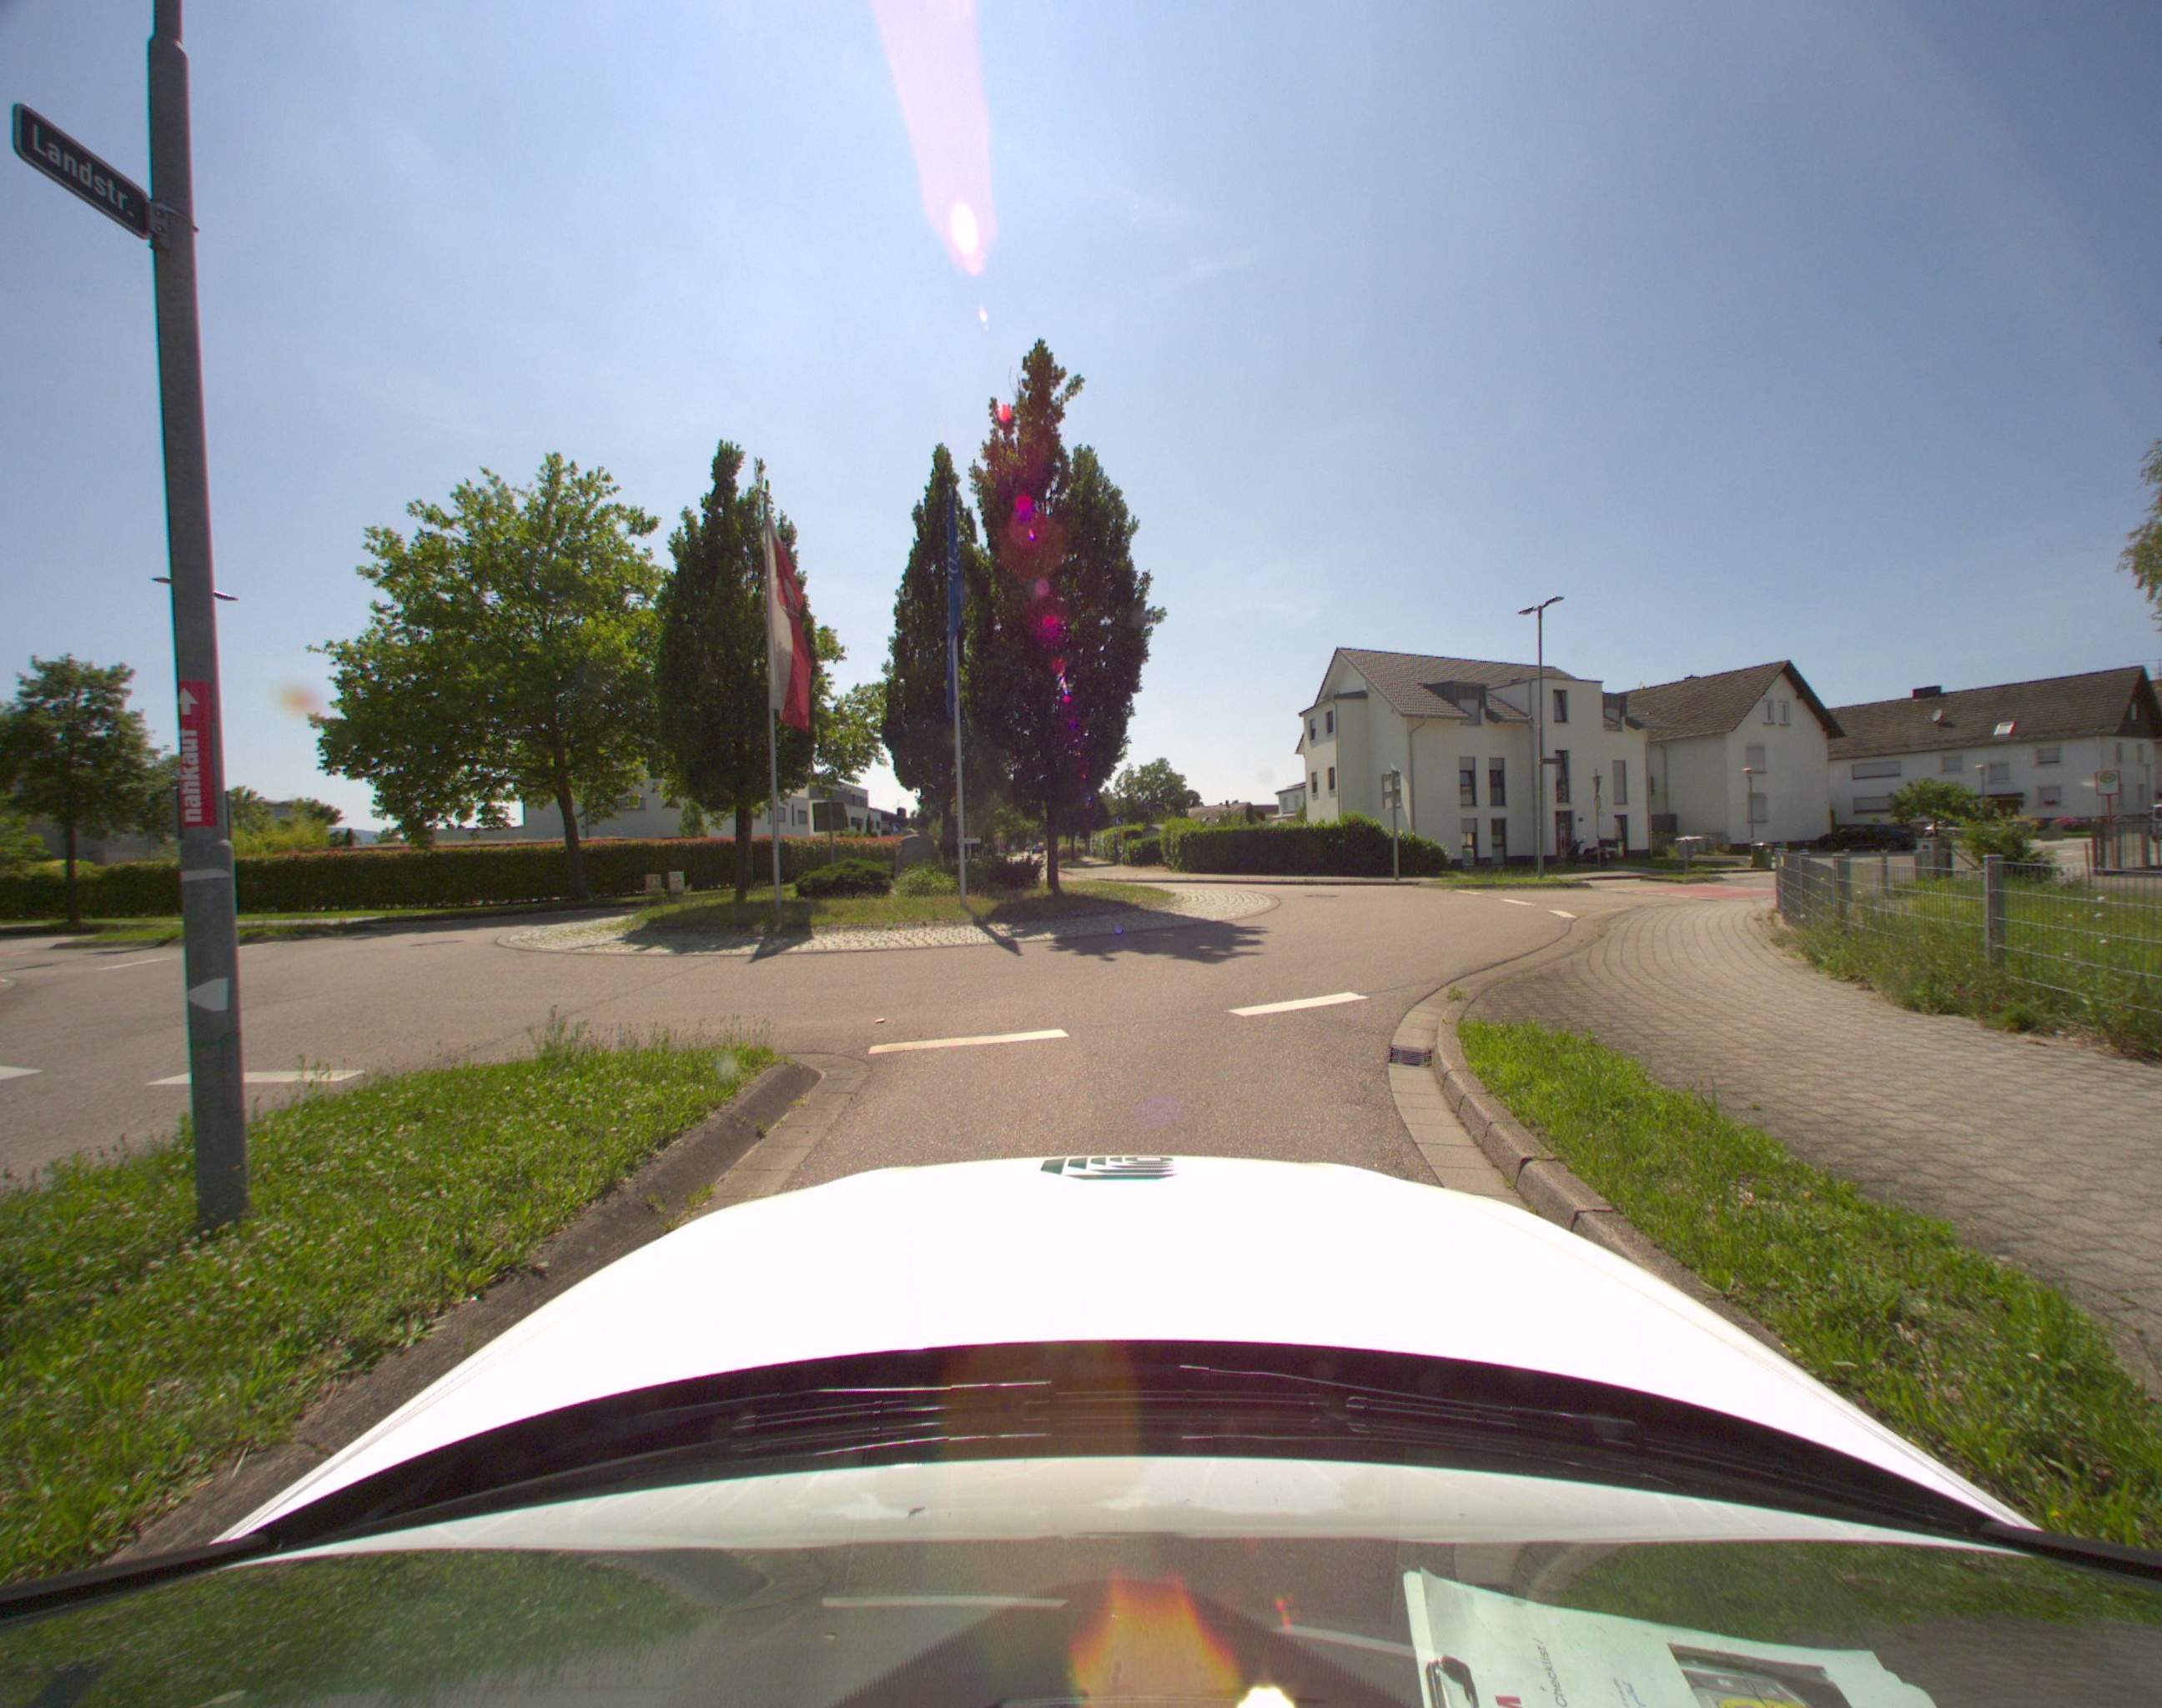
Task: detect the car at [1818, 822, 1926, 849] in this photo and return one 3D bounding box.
[{"bbox_3d":[43.676,-0.985,45.069,1.663,1.383,3.966,-2,1,-26],"label":"car"}]

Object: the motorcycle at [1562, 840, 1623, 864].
[{"bbox_3d":[22.336,-0.069,35.641,0.672,1.013,2.353,0,0,-19],"label":"motorcycle"}]

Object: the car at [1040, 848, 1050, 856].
[{"bbox_3d":[-7.296,-0.388,166.860,1.988,1.770,3.997,-1,0,-2],"label":"car"}]

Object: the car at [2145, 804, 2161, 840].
[{"bbox_3d":[56.080,-1.632,41.209,4.005,1.787,1.843,-1,0,-24],"label":"car"}]

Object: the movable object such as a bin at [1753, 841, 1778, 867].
[{"bbox_3d":[29.097,-0.016,34.626,0.458,1.083,0.644,-2,1,-16],"label":"movable object such as a bin"}]

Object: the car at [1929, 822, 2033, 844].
[{"bbox_3d":[55.519,-1.284,50.311,1.844,1.190,3.966,-2,1,-25],"label":"car"}]

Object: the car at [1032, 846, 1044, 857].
[{"bbox_3d":[-7.209,-0.434,137.014,1.918,1.886,3.996,-1,0,-3],"label":"car"}]
